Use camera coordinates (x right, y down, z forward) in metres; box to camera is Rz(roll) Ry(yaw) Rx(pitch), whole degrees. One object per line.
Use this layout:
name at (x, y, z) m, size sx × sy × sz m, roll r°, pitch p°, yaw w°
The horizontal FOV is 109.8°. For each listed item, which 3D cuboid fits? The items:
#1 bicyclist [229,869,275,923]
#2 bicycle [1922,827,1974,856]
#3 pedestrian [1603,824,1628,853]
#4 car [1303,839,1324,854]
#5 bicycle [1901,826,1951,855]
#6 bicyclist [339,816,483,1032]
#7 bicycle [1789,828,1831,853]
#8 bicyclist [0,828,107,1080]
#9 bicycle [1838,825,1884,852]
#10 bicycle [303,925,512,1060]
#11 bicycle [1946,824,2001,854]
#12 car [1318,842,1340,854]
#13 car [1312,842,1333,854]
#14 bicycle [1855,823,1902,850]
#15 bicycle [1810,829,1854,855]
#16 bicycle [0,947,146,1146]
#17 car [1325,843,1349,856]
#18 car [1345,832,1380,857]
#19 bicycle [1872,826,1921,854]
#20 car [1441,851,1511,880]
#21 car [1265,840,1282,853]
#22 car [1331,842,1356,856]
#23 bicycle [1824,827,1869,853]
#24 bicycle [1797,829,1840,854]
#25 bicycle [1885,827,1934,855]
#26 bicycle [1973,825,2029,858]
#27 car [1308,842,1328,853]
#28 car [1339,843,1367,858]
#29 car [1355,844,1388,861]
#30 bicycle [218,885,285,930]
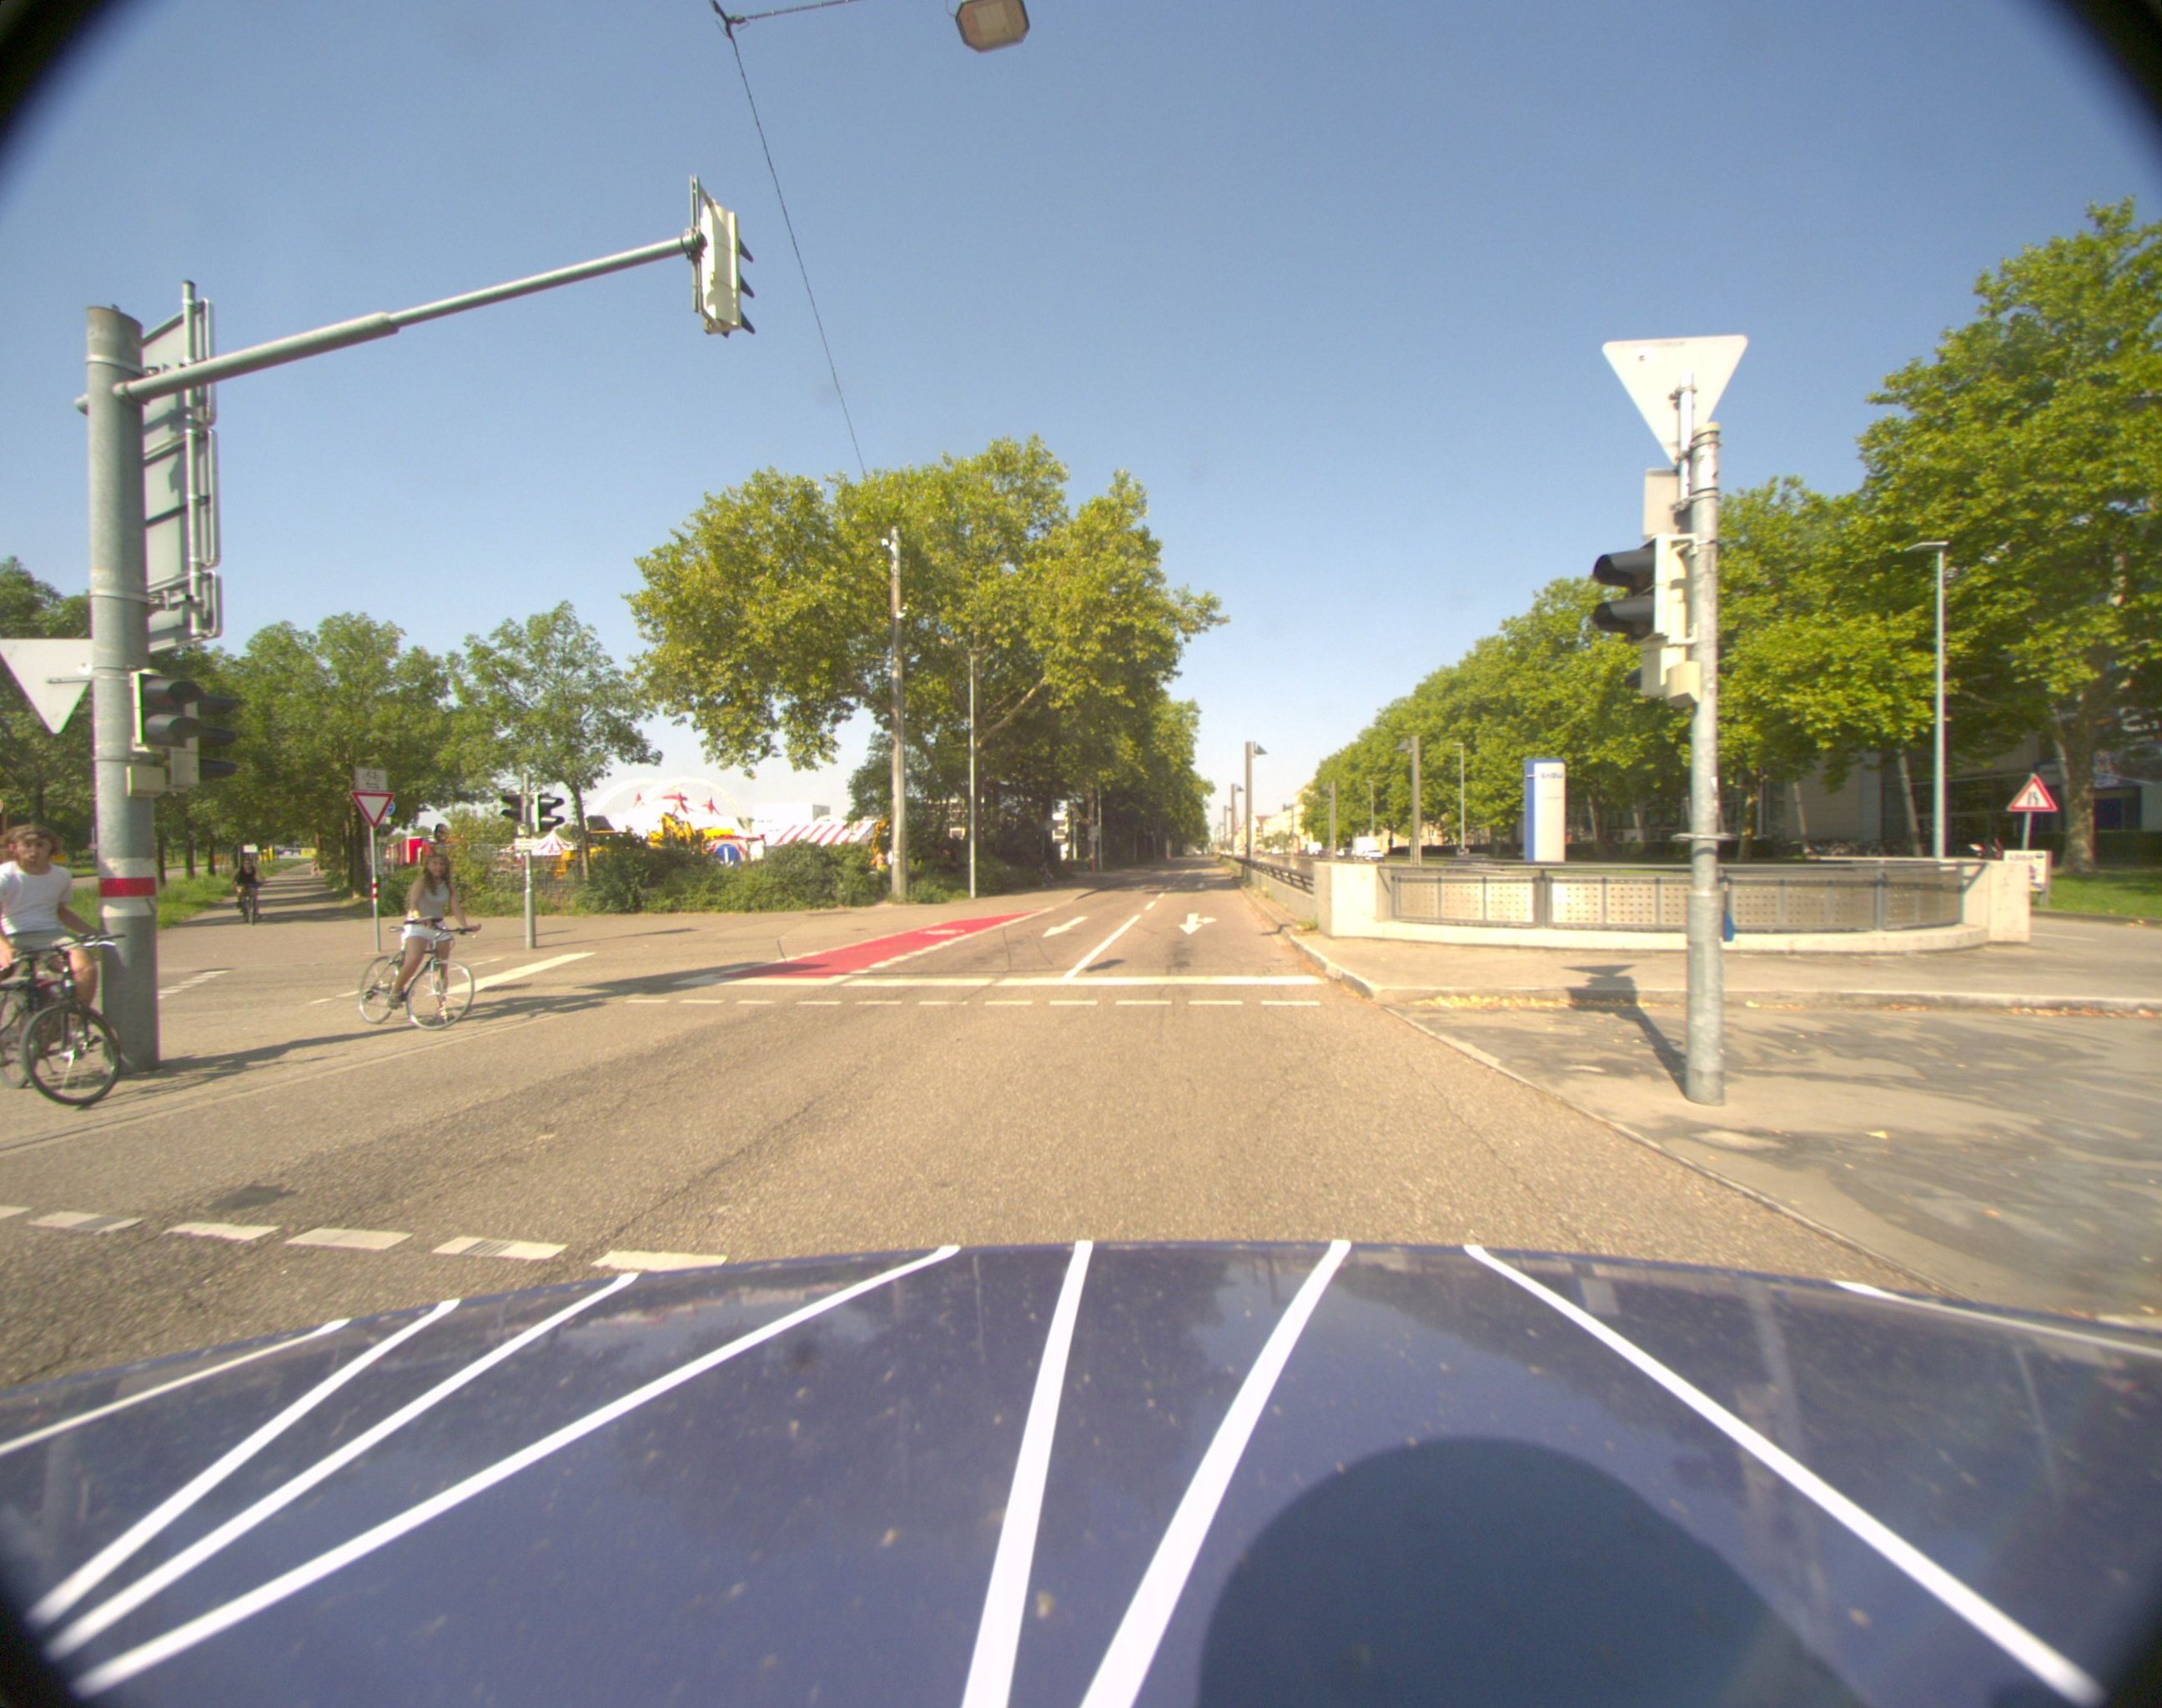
bicyclist at (-21.772, 1.094, 19.972) m, size 0.503 × 1.356 × 0.695 m, roll -4°, pitch 1°, yaw -23°
bicycle at (49.550, -0.729, 43.428) m, size 2.168 × 1.546 × 0.600 m, roll -3°, pitch 1°, yaw 2°
pedestrian at (38.532, -1.097, 54.830) m, size 0.947 × 2.002 × 1.350 m, roll -3°, pitch 1°, yaw 11°
car at (34.902, -1.201, 114.274) m, size 2.290 × 2.067 × 4.658 m, roll -3°, pitch 1°, yaw 8°
bicycle at (49.418, -0.768, 44.453) m, size 2.168 × 1.546 × 0.600 m, roll -3°, pitch 1°, yaw 2°
bicyclist at (-6.660, 0.665, 7.554) m, size 1.202 × 2.002 × 0.599 m, roll -2°, pitch 1°, yaw 29°
bicycle at (49.313, -0.929, 51.428) m, size 2.168 × 1.546 × 0.600 m, roll -3°, pitch 1°, yaw 2°
bicyclist at (-7.277, 0.653, 5.187) m, size 1.202 × 1.585 × 0.599 m, roll -3°, pitch 1°, yaw 33°
bicycle at (49.178, -0.961, 47.900) m, size 2.168 × 1.546 × 0.600 m, roll -3°, pitch 1°, yaw 2°
bicycle at (-6.745, 1.304, 7.582) m, size 2.257 × 1.081 × 0.774 m, roll -2°, pitch 1°, yaw 28°
bicycle at (49.550, -0.821, 42.192) m, size 2.168 × 1.546 × 0.600 m, roll -3°, pitch 1°, yaw 2°
car at (31.980, -0.788, 98.118) m, size 1.997 × 1.444 × 4.002 m, roll -3°, pitch 1°, yaw 8°
car at (32.588, -0.855, 102.528) m, size 1.997 × 1.444 × 4.002 m, roll -3°, pitch 1°, yaw 8°
bicycle at (49.364, -1.101, 47.057) m, size 2.168 × 1.546 × 0.600 m, roll -3°, pitch 1°, yaw 2°
bicycle at (49.252, -0.795, 49.836) m, size 2.168 × 1.546 × 0.600 m, roll -3°, pitch 1°, yaw 2°
bicycle at (-7.493, 1.289, 5.431) m, size 2.214 × 1.081 × 0.774 m, roll -2°, pitch 0°, yaw 33°
car at (31.190, -0.566, 92.760) m, size 1.997 × 1.444 × 4.002 m, roll -3°, pitch 1°, yaw 8°
car at (28.217, -0.958, 76.384) m, size 2.290 × 2.220 × 4.658 m, roll -3°, pitch 1°, yaw 8°
bicycle at (49.360, -0.839, 46.004) m, size 2.168 × 1.546 × 0.600 m, roll -3°, pitch 1°, yaw 2°
car at (18.711, 0.508, 36.161) m, size 1.659 × 1.214 × 3.896 m, roll -3°, pitch 0°, yaw 7°
car at (32.779, -1.268, 129.548) m, size 1.998 × 2.002 × 4.001 m, roll -3°, pitch 1°, yaw 4°
car at (29.814, -0.560, 86.389) m, size 1.997 × 1.444 × 4.002 m, roll -3°, pitch 1°, yaw 8°
bicycle at (49.200, -0.868, 48.811) m, size 2.168 × 1.546 × 0.600 m, roll -3°, pitch 1°, yaw 2°
bicycle at (49.264, -0.852, 50.772) m, size 2.168 × 1.546 × 0.600 m, roll -3°, pitch 1°, yaw 2°
bicycle at (49.363, -0.749, 45.292) m, size 2.168 × 1.546 × 0.600 m, roll -3°, pitch 1°, yaw 2°
bicycle at (49.524, -0.687, 40.917) m, size 2.168 × 1.630 × 0.600 m, roll -3°, pitch 1°, yaw 2°
car at (33.850, -0.973, 108.694) m, size 1.997 × 1.444 × 4.002 m, roll -3°, pitch 1°, yaw 8°
car at (29.065, -0.435, 81.227) m, size 1.997 × 1.444 × 4.002 m, roll -3°, pitch 1°, yaw 8°
car at (27.213, -0.173, 71.312) m, size 1.997 × 1.444 × 4.002 m, roll -3°, pitch 1°, yaw 8°
bicycle at (-21.776, 1.382, 19.987) m, size 0.573 × 1.050 × 1.490 m, roll -4°, pitch 2°, yaw -24°
